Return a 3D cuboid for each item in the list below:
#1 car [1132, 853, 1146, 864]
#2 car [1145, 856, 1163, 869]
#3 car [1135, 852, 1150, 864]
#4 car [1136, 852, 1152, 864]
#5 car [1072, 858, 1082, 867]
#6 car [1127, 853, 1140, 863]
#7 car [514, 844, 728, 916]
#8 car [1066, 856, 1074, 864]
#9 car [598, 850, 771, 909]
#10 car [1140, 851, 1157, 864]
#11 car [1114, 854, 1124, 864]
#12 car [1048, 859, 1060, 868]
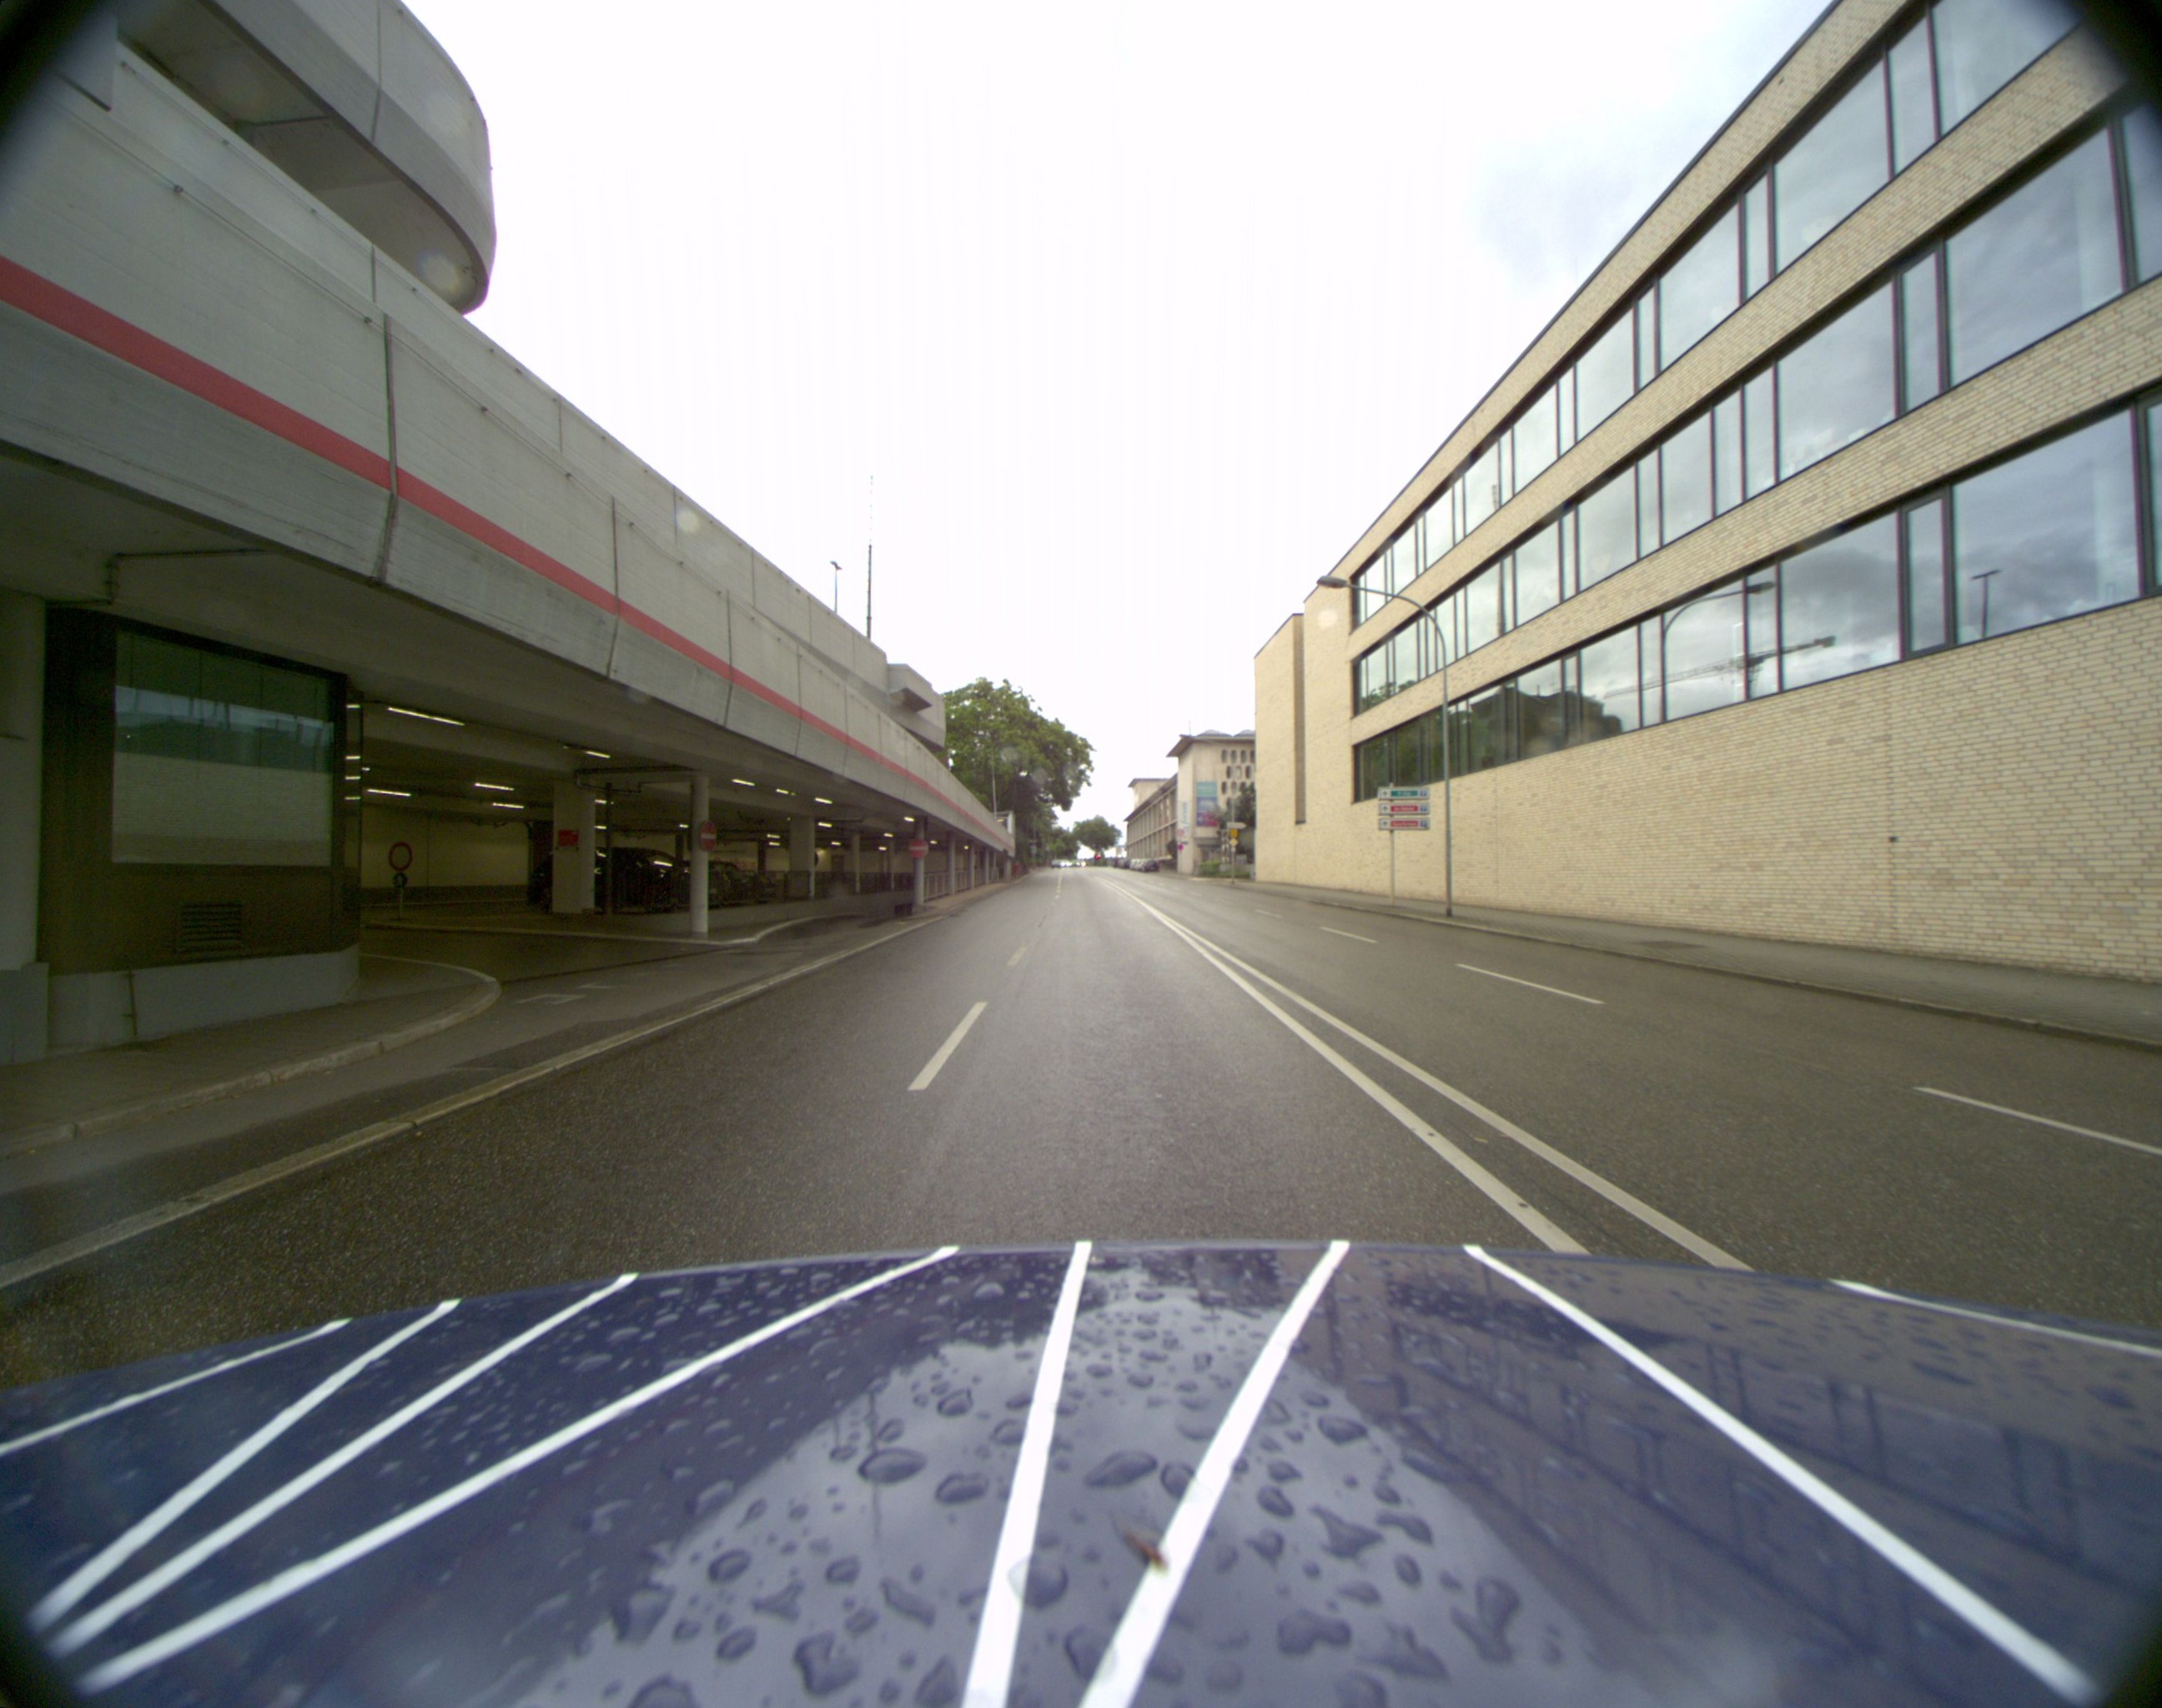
[{"bbox_3d":[8.637,0.682,113.358,1.800,1.516,4.056,-2,-1,1],"label":"car"},{"bbox_3d":[8.671,1.033,90.912,1.800,1.516,4.056,-2,-1,1],"label":"car"},{"bbox_3d":[8.636,0.595,106.777,1.800,1.516,4.056,-2,-1,1],"label":"car"},{"bbox_3d":[8.440,0.527,101.798,1.800,1.516,4.056,-2,-1,1],"label":"car"},{"bbox_3d":[-0.775,1.659,145.698,1.852,1.516,3.990,-2,-1,1],"label":"car"},{"bbox_3d":[8.315,0.595,121.708,1.800,1.516,4.056,-2,-1,1],"label":"car"},{"bbox_3d":[-11.390,0.696,18.955,4.251,1.650,2.003,-1,-4,10],"label":"car"},{"bbox_3d":[-2.612,1.380,180.040,1.727,1.628,3.999,-2,1,1],"label":"car"},{"bbox_3d":[-11.921,0.819,22.979,4.251,1.650,2.003,-1,-4,10],"label":"car"},{"bbox_3d":[8.511,0.482,96.495,1.800,1.516,4.056,-2,-1,1],"label":"car"},{"bbox_3d":[7.156,0.986,142.540,1.698,1.715,3.756,-2,1,1],"label":"car"},{"bbox_3d":[-4.657,1.624,131.491,1.683,1.516,3.990,-2,-1,1],"label":"car"}]
